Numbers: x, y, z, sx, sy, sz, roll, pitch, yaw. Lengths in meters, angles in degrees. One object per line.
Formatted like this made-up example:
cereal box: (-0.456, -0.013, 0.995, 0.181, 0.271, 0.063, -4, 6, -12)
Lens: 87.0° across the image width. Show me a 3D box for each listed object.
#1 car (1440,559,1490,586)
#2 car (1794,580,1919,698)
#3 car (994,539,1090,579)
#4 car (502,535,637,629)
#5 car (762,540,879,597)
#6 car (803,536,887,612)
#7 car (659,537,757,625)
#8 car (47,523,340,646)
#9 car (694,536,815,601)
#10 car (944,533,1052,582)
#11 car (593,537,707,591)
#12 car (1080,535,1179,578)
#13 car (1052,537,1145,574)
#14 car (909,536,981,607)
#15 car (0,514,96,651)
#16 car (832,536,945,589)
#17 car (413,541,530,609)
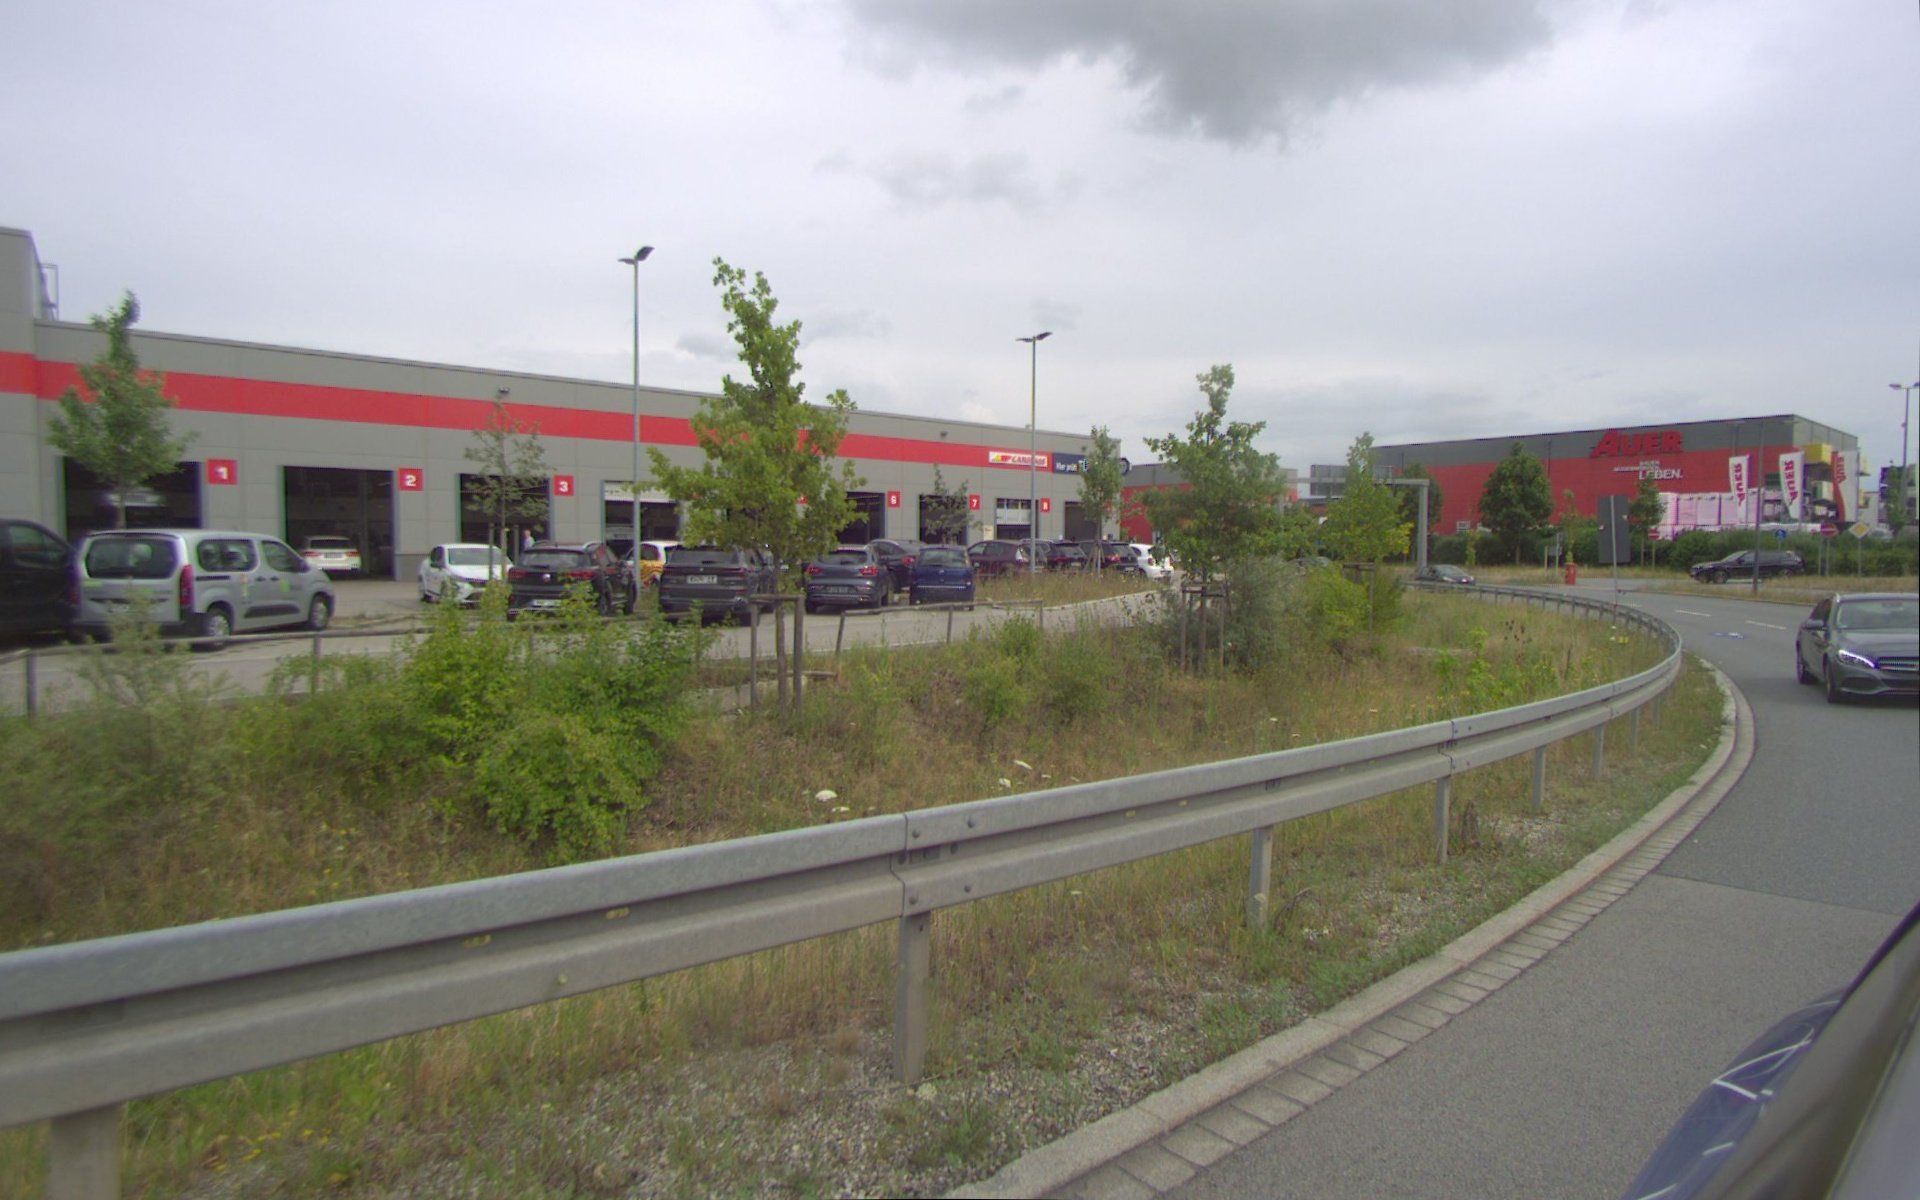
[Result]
car: (27.112, -1.484, 54.440, 1.742, 1.334, 3.939, -1, 2, 17)
car: (13.498, 0.474, 14.574, 1.752, 1.437, 4.045, -1, 1, 32)
car: (2.905, -1.461, 36.410, 1.457, 1.340, 3.315, -2, 2, -43)
car: (-7.609, -0.434, 20.088, 1.616, 1.642, 4.085, 1, 3, -8)
car: (-4.150, -0.971, 29.726, 1.565, 1.563, 3.692, -2, 4, -43)
car: (-2.738, -0.707, 24.769, 1.793, 1.641, 4.083, 1, 4, -3)
car: (-5.227, -0.403, 21.428, 1.701, 1.642, 4.085, 1, 1, -10)
car: (-12.177, -0.364, 16.493, 1.868, 1.731, 4.084, 0, 4, -4)
car: (-5.689, -0.900, 27.769, 1.565, 1.658, 3.692, -2, 4, -43)
car: (1.285, -1.441, 34.964, 1.565, 1.564, 3.691, -2, 2, -43)
car: (-8.352, -0.999, 27.099, 1.456, 1.339, 3.693, -2, 4, -43)
car: (6.678, -1.702, 40.056, 1.565, 1.564, 3.691, -2, 2, -43)
car: (5.170, -1.665, 38.048, 1.457, 1.340, 3.316, -2, 3, -43)
car: (-0.467, -0.812, 26.645, 1.702, 1.641, 4.083, 1, 4, -3)
car: (-14.469, -0.224, 13.789, 1.870, 1.930, 4.080, 1, 4, 0)
car: (-2.284, -1.194, 31.692, 1.565, 1.563, 3.692, -2, 4, -43)
car: (-11.491, -0.646, 23.677, 1.562, 1.439, 4.199, -2, 4, -39)
